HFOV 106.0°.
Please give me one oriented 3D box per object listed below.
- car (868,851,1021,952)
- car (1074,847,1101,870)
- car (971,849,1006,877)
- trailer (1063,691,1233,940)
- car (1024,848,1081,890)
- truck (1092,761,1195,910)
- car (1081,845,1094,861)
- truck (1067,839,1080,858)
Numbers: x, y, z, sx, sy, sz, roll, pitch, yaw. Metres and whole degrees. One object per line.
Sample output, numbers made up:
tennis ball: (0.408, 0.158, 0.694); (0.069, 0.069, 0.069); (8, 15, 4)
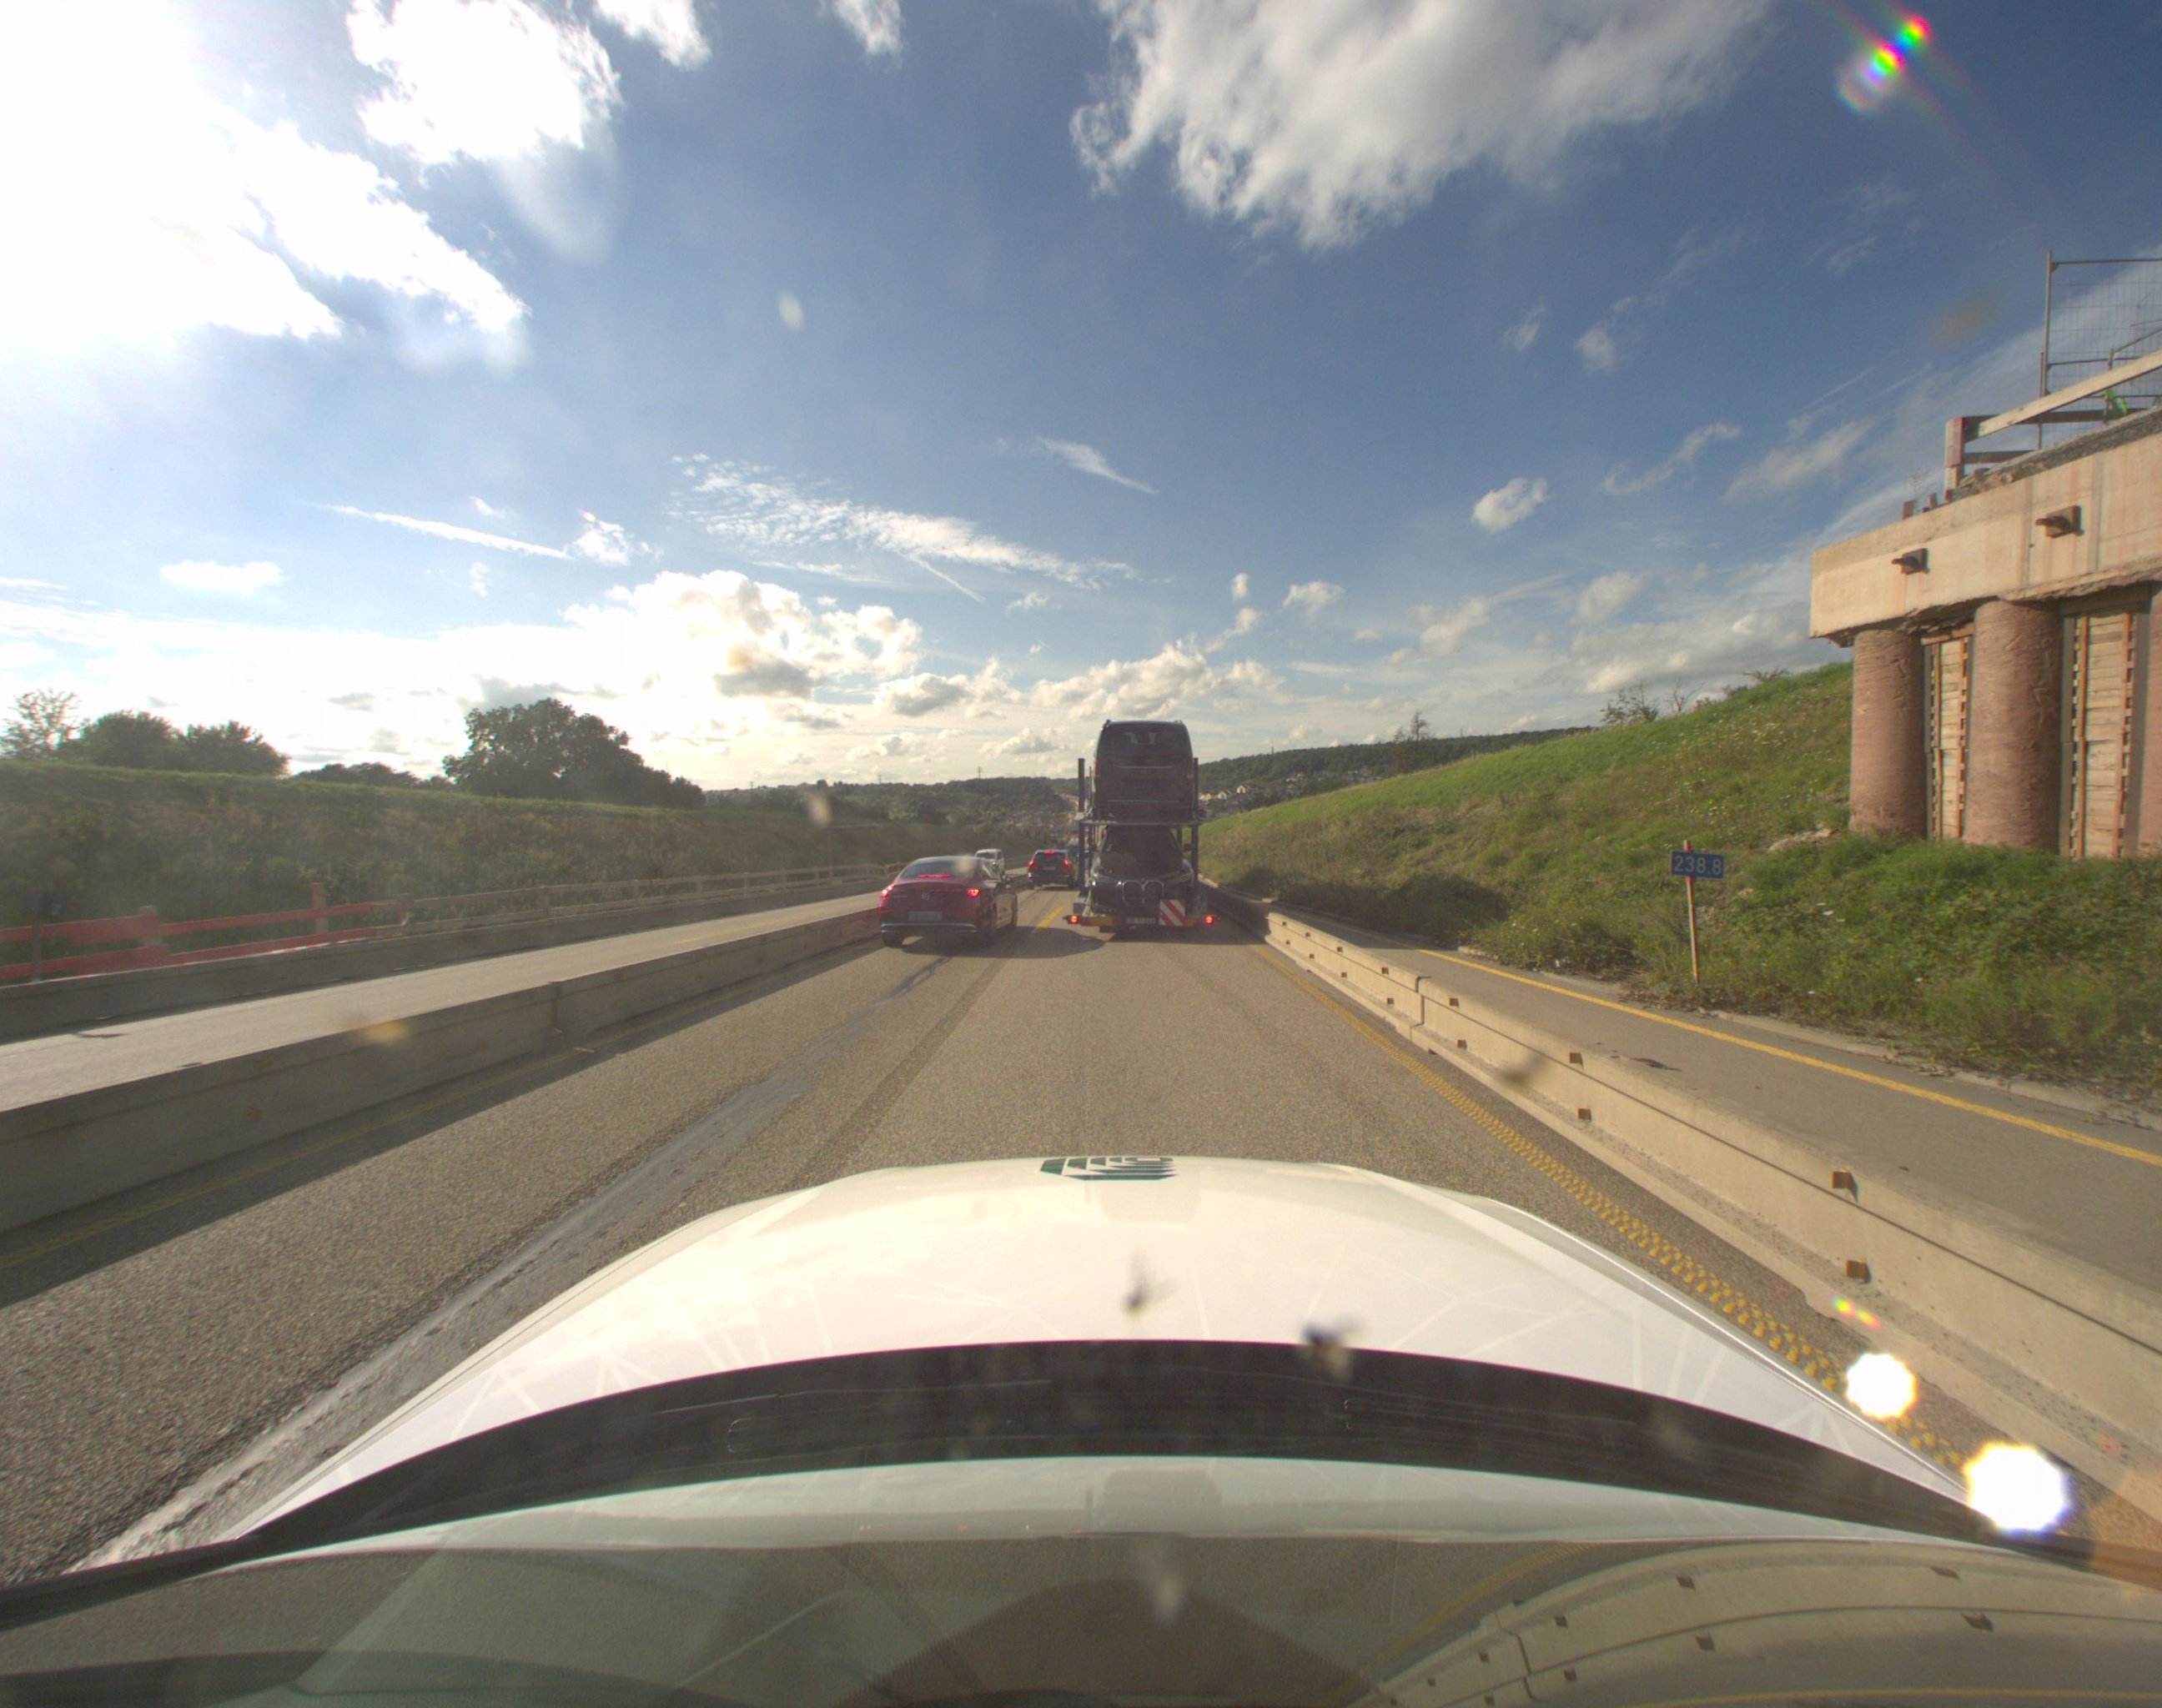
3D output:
car: (-2.244, 0.710, 14.702); (1.816, 1.492, 4.687); (0, 1, 2)
car: (0.524, 0.316, 60.997); (1.789, 1.596, 4.745); (-2, 0, 2)
car: (-6.258, 0.568, 55.568); (1.728, 1.659, 4.219); (-4, 1, 1)
trailer: (1.453, -0.651, 19.082); (2.696, 4.029, 11.430); (-1, 0, 4)
car: (-1.127, 0.583, 34.372); (1.985, 1.625, 4.754); (0, 0, 3)
truck: (1.842, -0.507, 24.708); (2.666, 3.922, 6.033); (-1, 0, 3)
car: (1.295, -0.176, 160.914); (2.101, 2.835, 6.144); (-4, 0, 3)
truck: (-1.698, -1.187, 183.994); (2.608, 4.153, 5.776); (-1, 0, -2)
